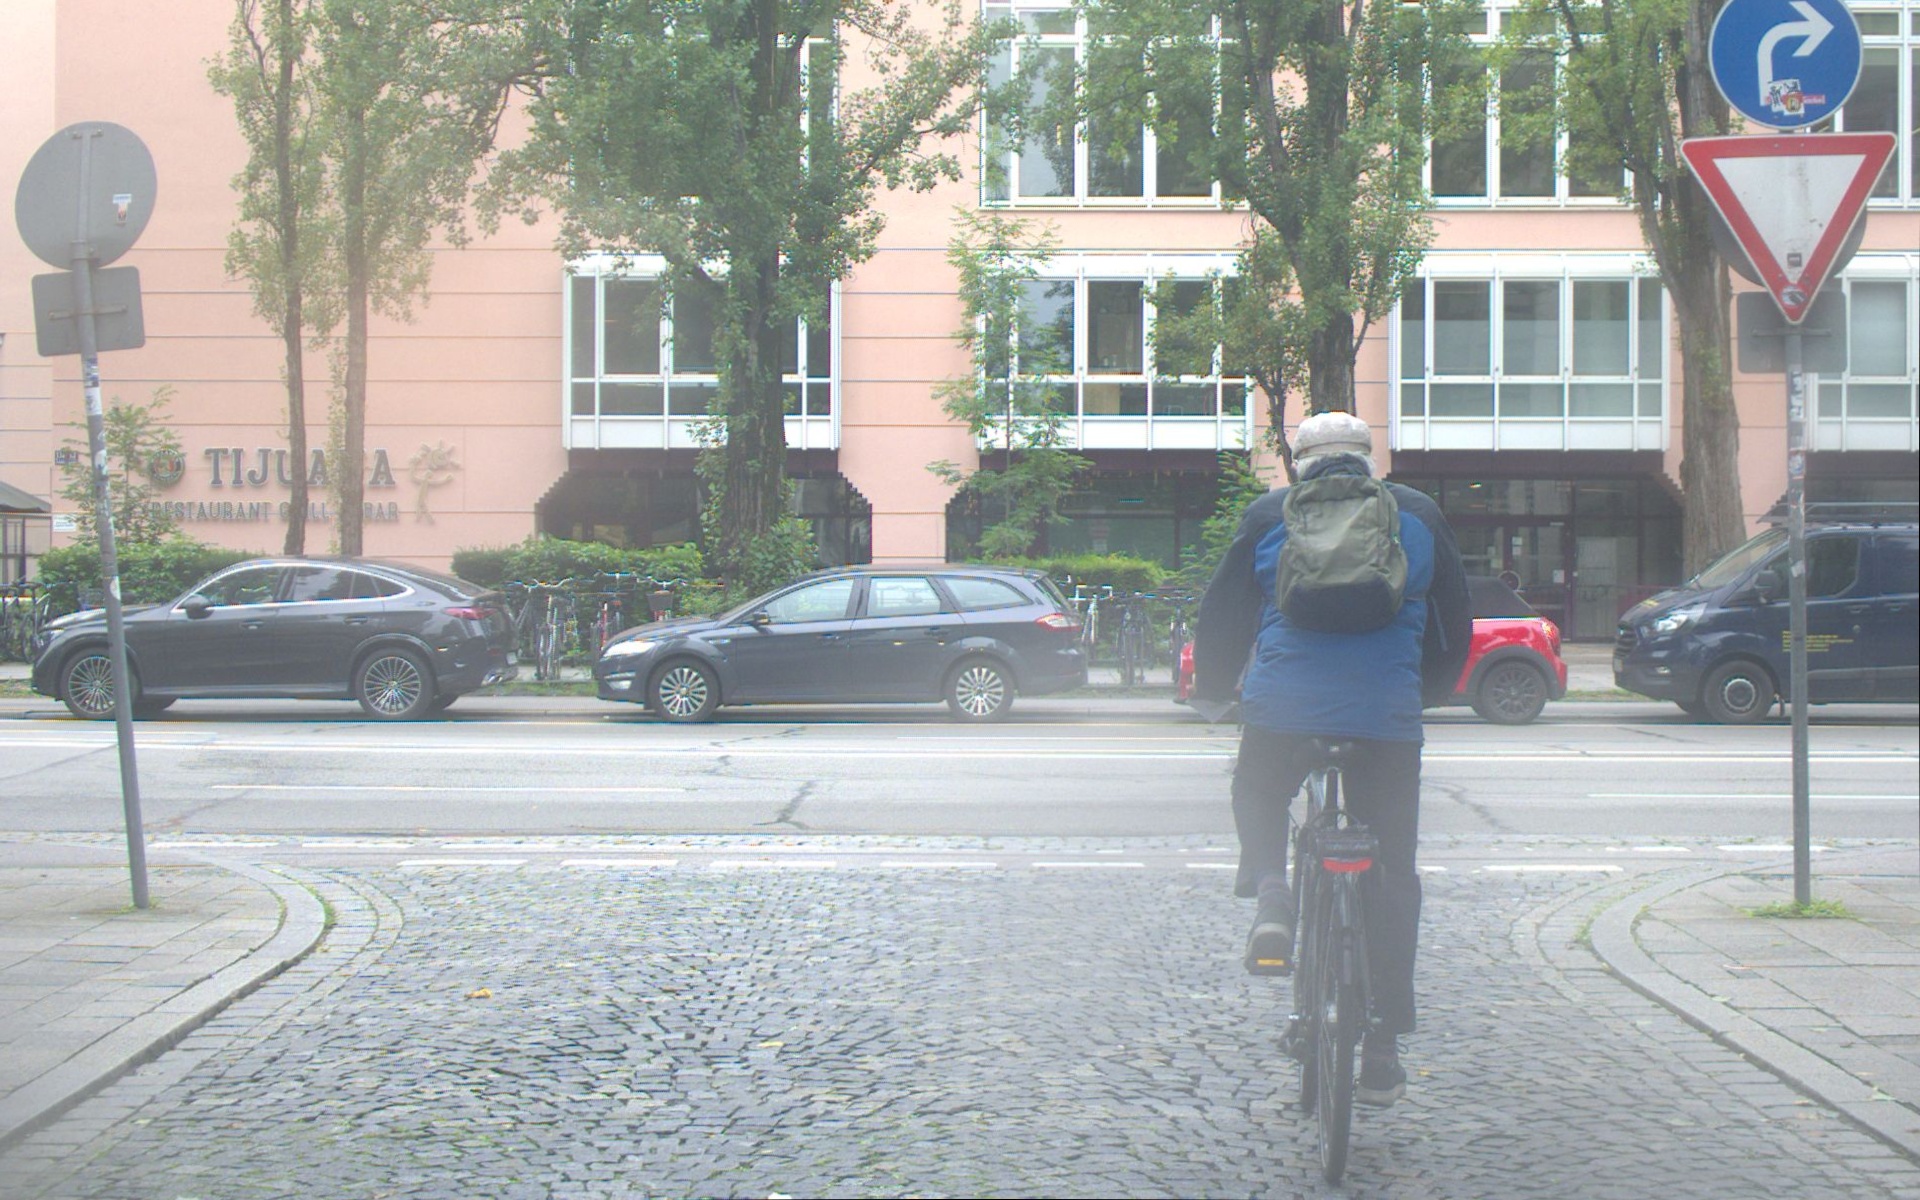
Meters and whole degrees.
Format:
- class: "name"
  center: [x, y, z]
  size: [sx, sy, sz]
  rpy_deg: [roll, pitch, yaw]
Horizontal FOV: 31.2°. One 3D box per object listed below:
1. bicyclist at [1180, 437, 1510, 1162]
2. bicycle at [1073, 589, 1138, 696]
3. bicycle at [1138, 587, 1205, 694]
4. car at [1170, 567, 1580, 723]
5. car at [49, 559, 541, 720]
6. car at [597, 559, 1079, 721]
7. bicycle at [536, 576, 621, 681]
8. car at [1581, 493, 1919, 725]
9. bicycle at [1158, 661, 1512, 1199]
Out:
- class: "bicyclist"
  center: [0.895, 0.436, 8.064]
  size: [0.722, 1.614, 0.756]
  rpy_deg: [0, 1, 6]
- class: "bicycle"
  center: [1.585, 0.450, 37.654]
  size: [0.674, 1.120, 1.742]
  rpy_deg: [0, 1, 1]
- class: "bicycle"
  center: [2.305, 0.433, 37.634]
  size: [0.674, 1.120, 1.742]
  rpy_deg: [0, 1, 1]
- class: "car"
  center: [3.982, 0.414, 33.471]
  size: [3.861, 1.444, 1.678]
  rpy_deg: [0, 1, 4]
- class: "car"
  center: [-6.502, 0.369, 33.935]
  size: [4.500, 1.523, 1.793]
  rpy_deg: [0, 1, 1]
- class: "car"
  center: [-1.150, 0.372, 33.769]
  size: [4.608, 1.523, 1.793]
  rpy_deg: [0, 1, 1]
- class: "bicycle"
  center: [-4.229, 0.301, 38.215]
  size: [0.674, 1.120, 1.989]
  rpy_deg: [0, 1, 1]
- class: "car"
  center: [8.991, 0.074, 33.600]
  size: [5.479, 2.189, 2.024]
  rpy_deg: [0, 1, 1]
- class: "bicycle"
  center: [0.873, 0.741, 8.003]
  size: [0.717, 1.144, 1.900]
  rpy_deg: [0, 0, 6]
